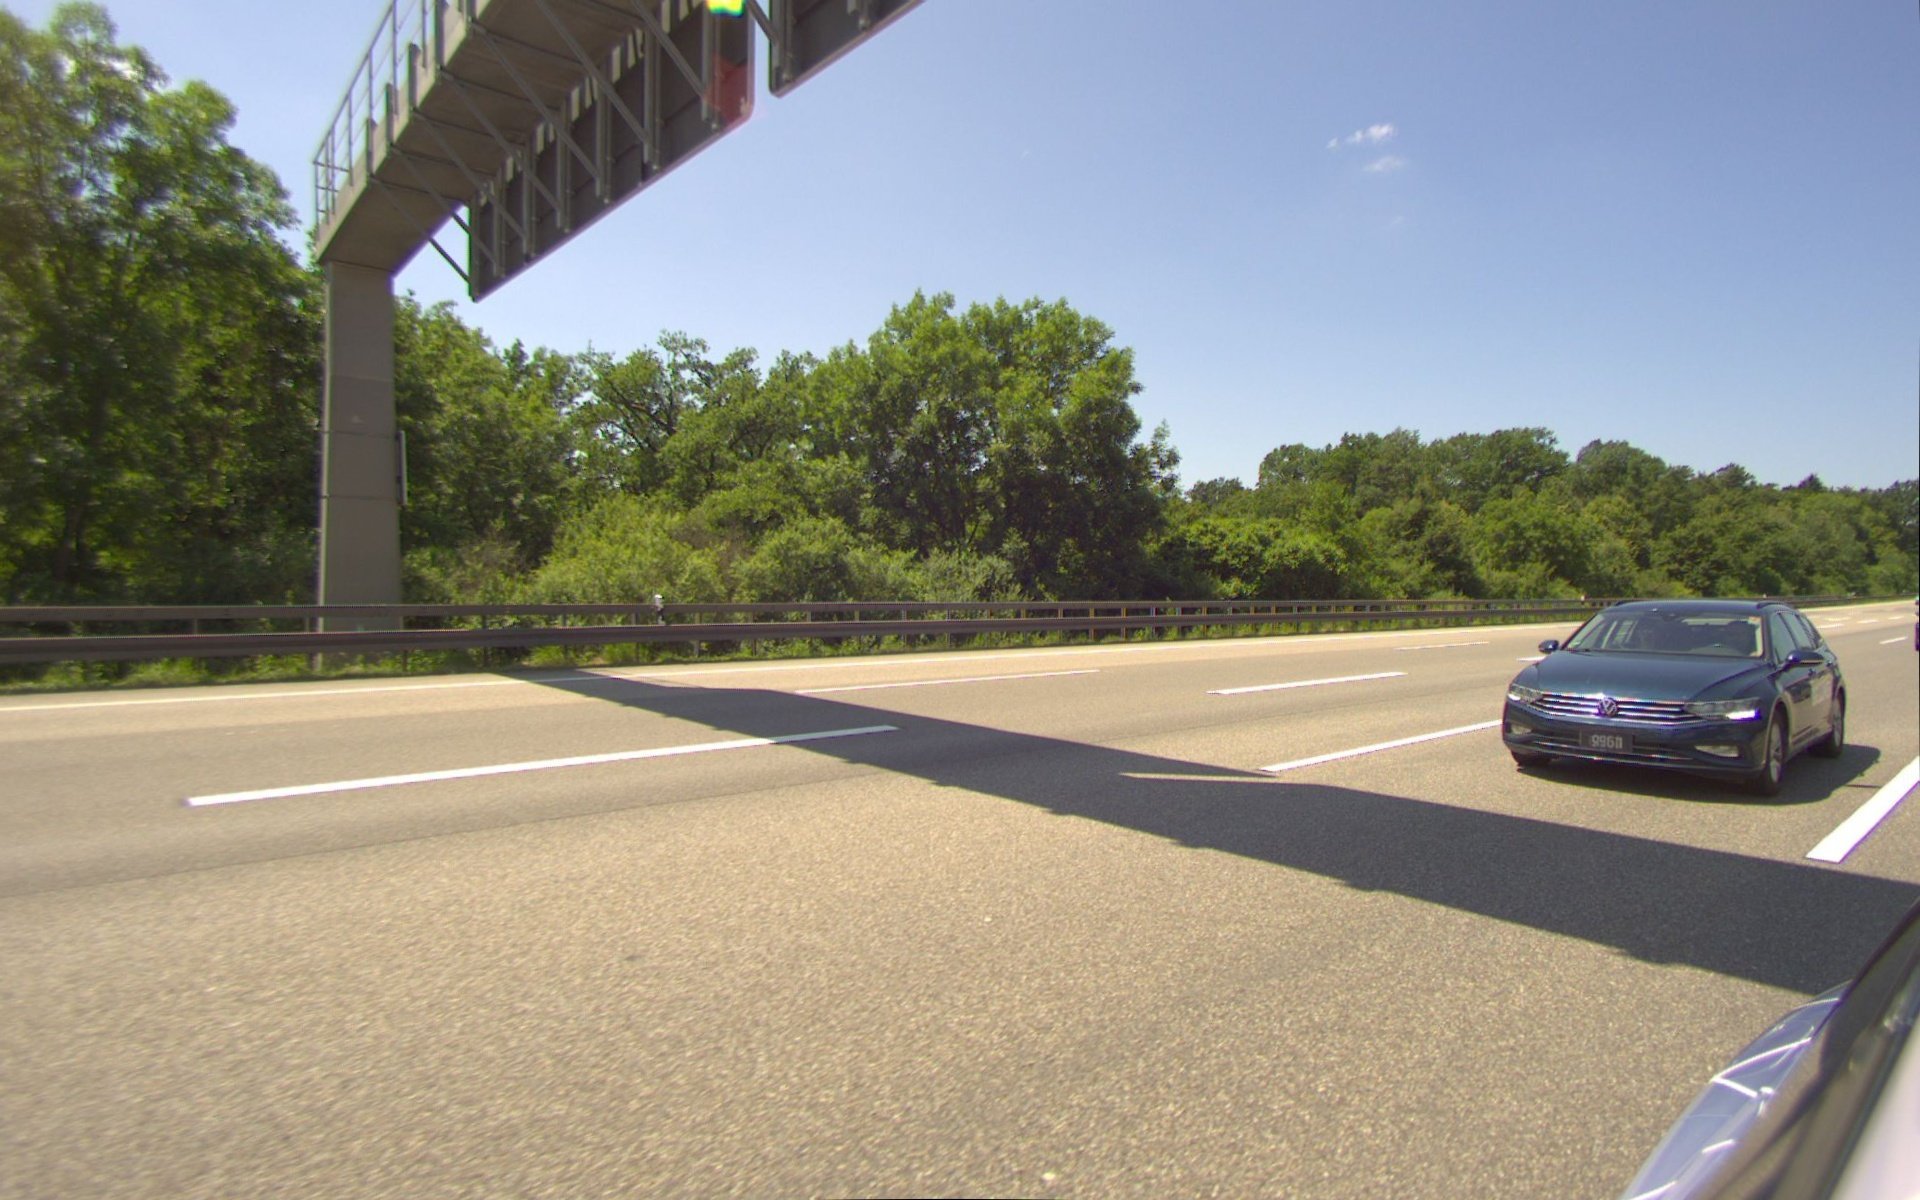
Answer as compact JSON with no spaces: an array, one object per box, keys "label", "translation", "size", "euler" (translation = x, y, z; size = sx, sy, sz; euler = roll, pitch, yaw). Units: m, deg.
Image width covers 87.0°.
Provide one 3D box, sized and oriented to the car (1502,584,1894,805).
[{"label":"car","translation":[6.753,0.599,9.019],"size":[4.874,1.465,1.733],"euler":[-1,1,-40]}]
